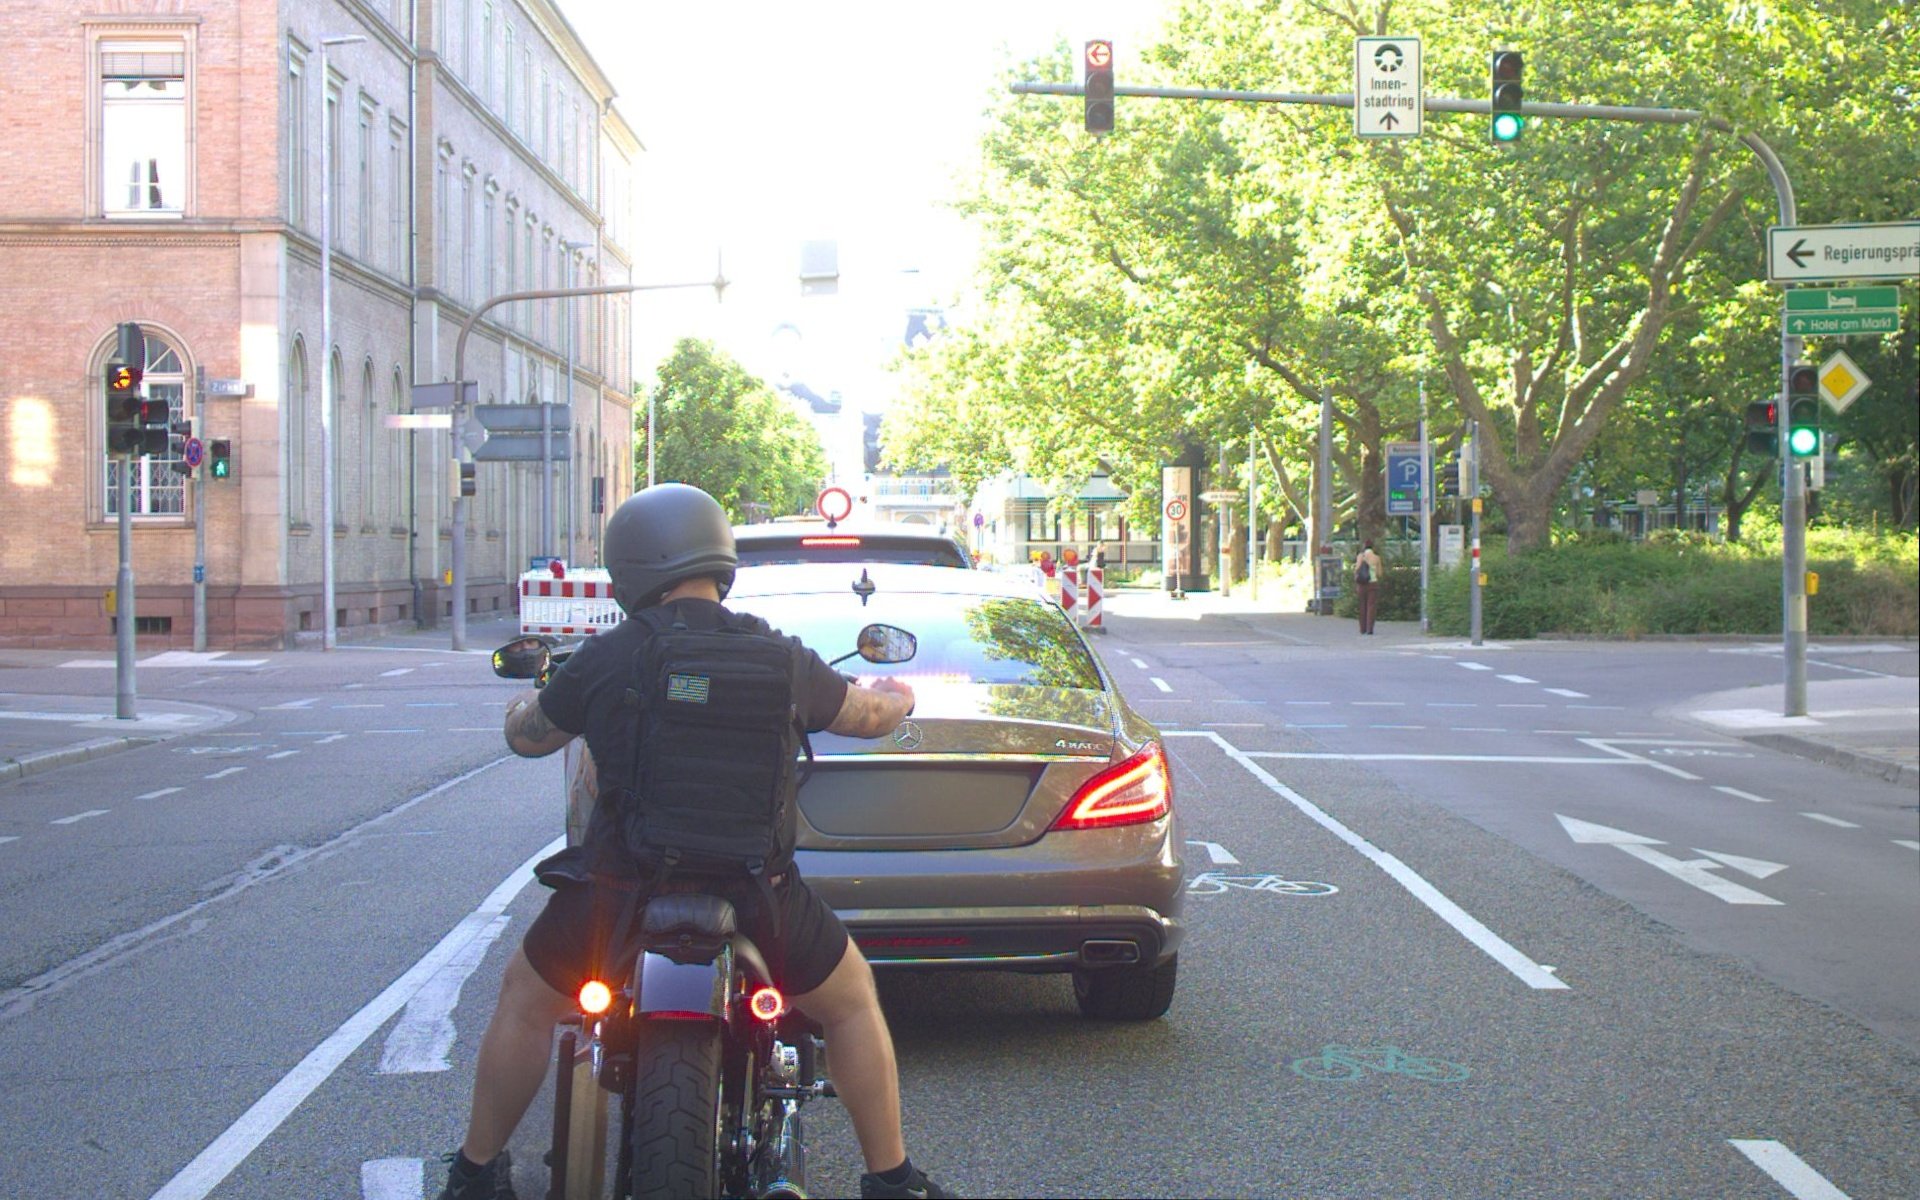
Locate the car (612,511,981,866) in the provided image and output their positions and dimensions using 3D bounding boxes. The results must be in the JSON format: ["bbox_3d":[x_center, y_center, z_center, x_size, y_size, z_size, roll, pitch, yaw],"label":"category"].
[{"bbox_3d":[-0.808,0.374,17.620,1.681,1.619,3.841,0,1,-2],"label":"car"}]

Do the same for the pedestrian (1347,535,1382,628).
[{"bbox_3d":[7.296,-0.340,62.041,0.559,1.672,0.565,0,1,-1],"label":"pedestrian"}]

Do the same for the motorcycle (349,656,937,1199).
[{"bbox_3d":[-0.559,0.765,7.235,1.007,1.200,2.665,0,1,-1],"label":"motorcycle"}]

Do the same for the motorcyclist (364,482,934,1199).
[{"bbox_3d":[-0.615,0.563,7.325,1.113,1.607,1.202,0,1,-1],"label":"motorcyclist"}]

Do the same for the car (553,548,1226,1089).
[{"bbox_3d":[-0.440,0.564,11.641,1.821,1.471,4.354,0,1,-7],"label":"car"}]
